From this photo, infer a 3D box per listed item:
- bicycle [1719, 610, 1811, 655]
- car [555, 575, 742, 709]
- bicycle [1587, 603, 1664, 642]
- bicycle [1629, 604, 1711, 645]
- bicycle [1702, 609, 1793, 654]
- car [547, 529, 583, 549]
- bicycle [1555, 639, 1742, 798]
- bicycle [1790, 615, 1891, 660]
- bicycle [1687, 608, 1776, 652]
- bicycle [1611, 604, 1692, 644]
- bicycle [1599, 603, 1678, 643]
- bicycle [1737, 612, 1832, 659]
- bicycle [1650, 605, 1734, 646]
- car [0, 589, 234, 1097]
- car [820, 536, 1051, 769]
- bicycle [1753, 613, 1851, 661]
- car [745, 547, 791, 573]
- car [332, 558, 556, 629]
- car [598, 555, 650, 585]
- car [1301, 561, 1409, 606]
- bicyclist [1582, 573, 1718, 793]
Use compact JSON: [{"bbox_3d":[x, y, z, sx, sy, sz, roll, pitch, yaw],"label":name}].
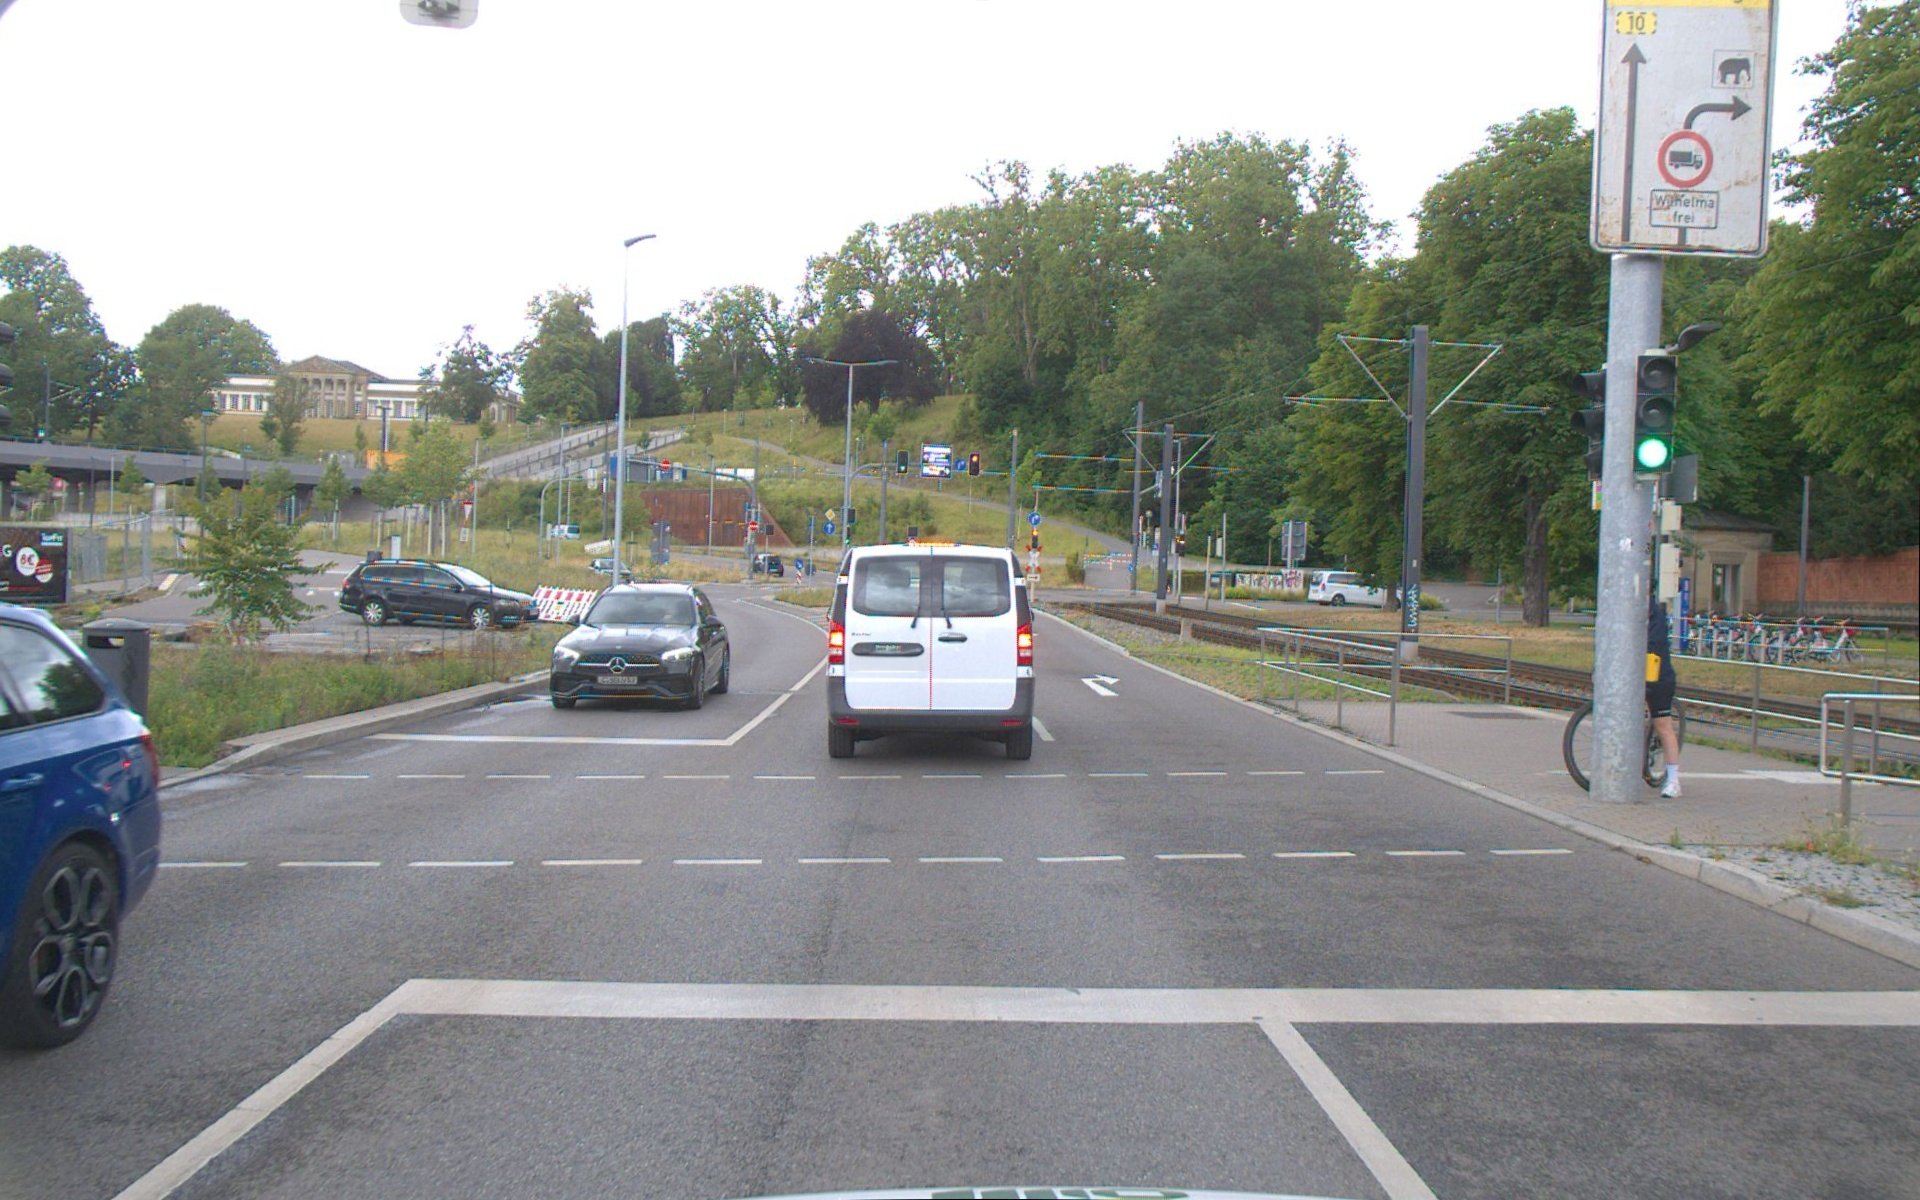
[{"bbox_3d":[18.595,0.746,38.219,1.873,0.992,0.531,1,1,-1],"label":"bicycle"},{"bbox_3d":[-3.936,0.486,21.569,1.695,1.555,4.443,1,0,-2],"label":"car"},{"bbox_3d":[18.269,0.614,45.420,1.873,0.992,0.531,1,1,-1],"label":"bicycle"},{"bbox_3d":[18.366,0.628,42.788,1.873,0.992,0.531,1,1,-1],"label":"bicycle"},{"bbox_3d":[18.548,0.740,38.958,1.873,0.992,0.531,1,1,-1],"label":"bicycle"},{"bbox_3d":[-35.257,-5.451,147.560,1.920,1.655,3.955,2,1,-33],"label":"car"},{"bbox_3d":[5.312,0.878,12.726,1.669,1.092,0.611,1,2,-41],"label":"bicycle"},{"bbox_3d":[18.912,0.802,35.525,1.873,0.911,0.531,1,1,-1],"label":"bicycle"},{"bbox_3d":[18.520,0.721,39.739,1.873,0.992,0.531,1,1,-1],"label":"bicycle"},{"bbox_3d":[18.185,0.621,43.511,1.873,0.992,0.531,1,1,-1],"label":"bicycle"},{"bbox_3d":[18.243,0.618,44.493,1.873,0.992,0.531,1,1,-1],"label":"bicycle"},{"bbox_3d":[18.578,0.804,37.279,1.873,0.992,0.531,1,1,-1],"label":"bicycle"},{"bbox_3d":[18.569,0.639,41.977,1.873,0.992,0.531,1,1,-1],"label":"bicycle"},{"bbox_3d":[-3.561,0.689,4.060,1.695,1.446,4.443,1,0,-2],"label":"car"},{"bbox_3d":[-0.226,0.402,16.042,1.919,1.937,4.461,0,1,-1],"label":"car"},{"bbox_3d":[18.639,0.813,36.633,1.873,0.992,0.531,1,1,-1],"label":"bicycle"},{"bbox_3d":[-13.226,-2.768,113.687,1.913,1.655,3.968,3,1,-26],"label":"car"},{"bbox_3d":[-12.137,-0.172,39.010,4.609,1.503,2.002,2,2,9],"label":"car"},{"bbox_3d":[-17.305,-1.552,85.079,1.853,1.502,3.971,0,2,-24],"label":"car"},{"bbox_3d":[20.884,-0.874,87.446,5.041,2.048,2.203,3,0,-10],"label":"car"},{"bbox_3d":[5.298,0.613,12.698,0.799,1.599,0.609,1,2,-41],"label":"bicyclist"}]
